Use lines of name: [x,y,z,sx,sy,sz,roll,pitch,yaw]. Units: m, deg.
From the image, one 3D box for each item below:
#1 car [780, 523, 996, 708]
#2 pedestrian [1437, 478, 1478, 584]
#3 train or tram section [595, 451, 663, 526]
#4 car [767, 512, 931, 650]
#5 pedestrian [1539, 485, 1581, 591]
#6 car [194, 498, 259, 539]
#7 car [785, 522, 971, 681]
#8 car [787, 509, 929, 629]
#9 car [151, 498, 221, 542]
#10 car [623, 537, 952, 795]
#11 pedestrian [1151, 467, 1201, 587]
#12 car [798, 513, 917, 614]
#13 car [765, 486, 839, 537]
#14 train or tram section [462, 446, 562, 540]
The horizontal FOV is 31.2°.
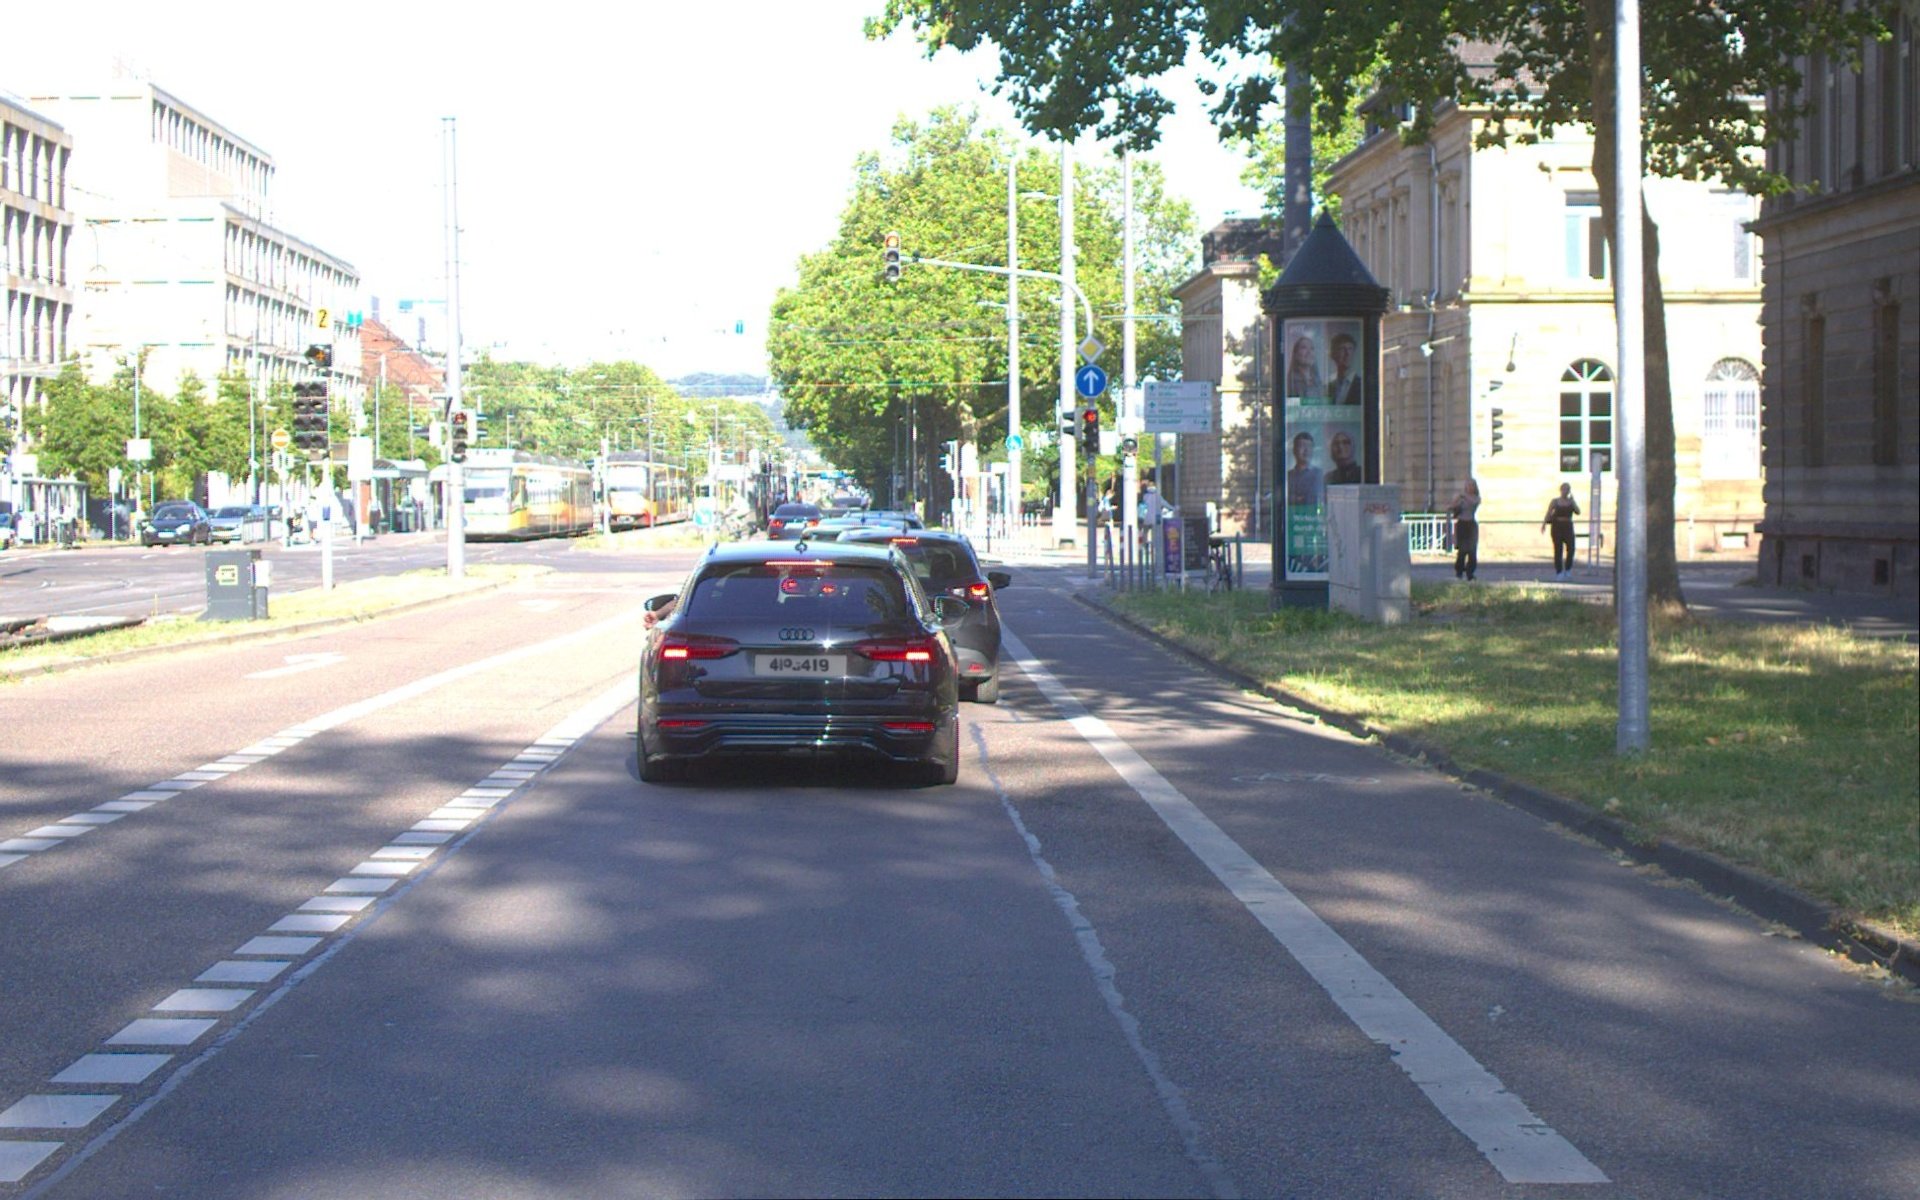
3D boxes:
car: [-0.635,0.087,30.736,1.794,1.505,4.001,0,2,-1]
pedestrian: [8.245,-1.146,56.916,0.588,1.722,0.650,2,2,11]
train or tram section: [-15.632,-5.289,163.003,2.825,3.439,9.066,-1,2,-3]
car: [-1.266,-0.260,40.088,1.794,1.505,4.001,0,2,-1]
pedestrian: [9.899,-1.025,56.724,0.588,1.722,0.650,2,2,13]
car: [-27.274,-3.047,127.969,1.794,1.505,4.001,-1,2,-4]
car: [-0.833,-0.031,35.326,1.794,1.505,4.001,0,2,-1]
car: [-1.336,-0.444,45.724,1.794,1.505,4.001,0,2,-1]
car: [-27.135,-2.819,120.573,1.794,1.505,4.001,-1,2,-4]
car: [-1.043,0.334,21.255,1.833,1.386,4.160,0,2,-2]
pedestrian: [3.138,-1.066,49.928,0.588,1.722,0.650,2,2,11]
car: [-1.590,-0.602,54.182,1.794,1.505,4.001,0,2,-1]
car: [-4.876,-2.725,106.330,1.794,1.505,4.000,2,1,4]
train or tram section: [-17.096,-4.095,131.667,2.825,3.439,9.065,0,2,-1]
